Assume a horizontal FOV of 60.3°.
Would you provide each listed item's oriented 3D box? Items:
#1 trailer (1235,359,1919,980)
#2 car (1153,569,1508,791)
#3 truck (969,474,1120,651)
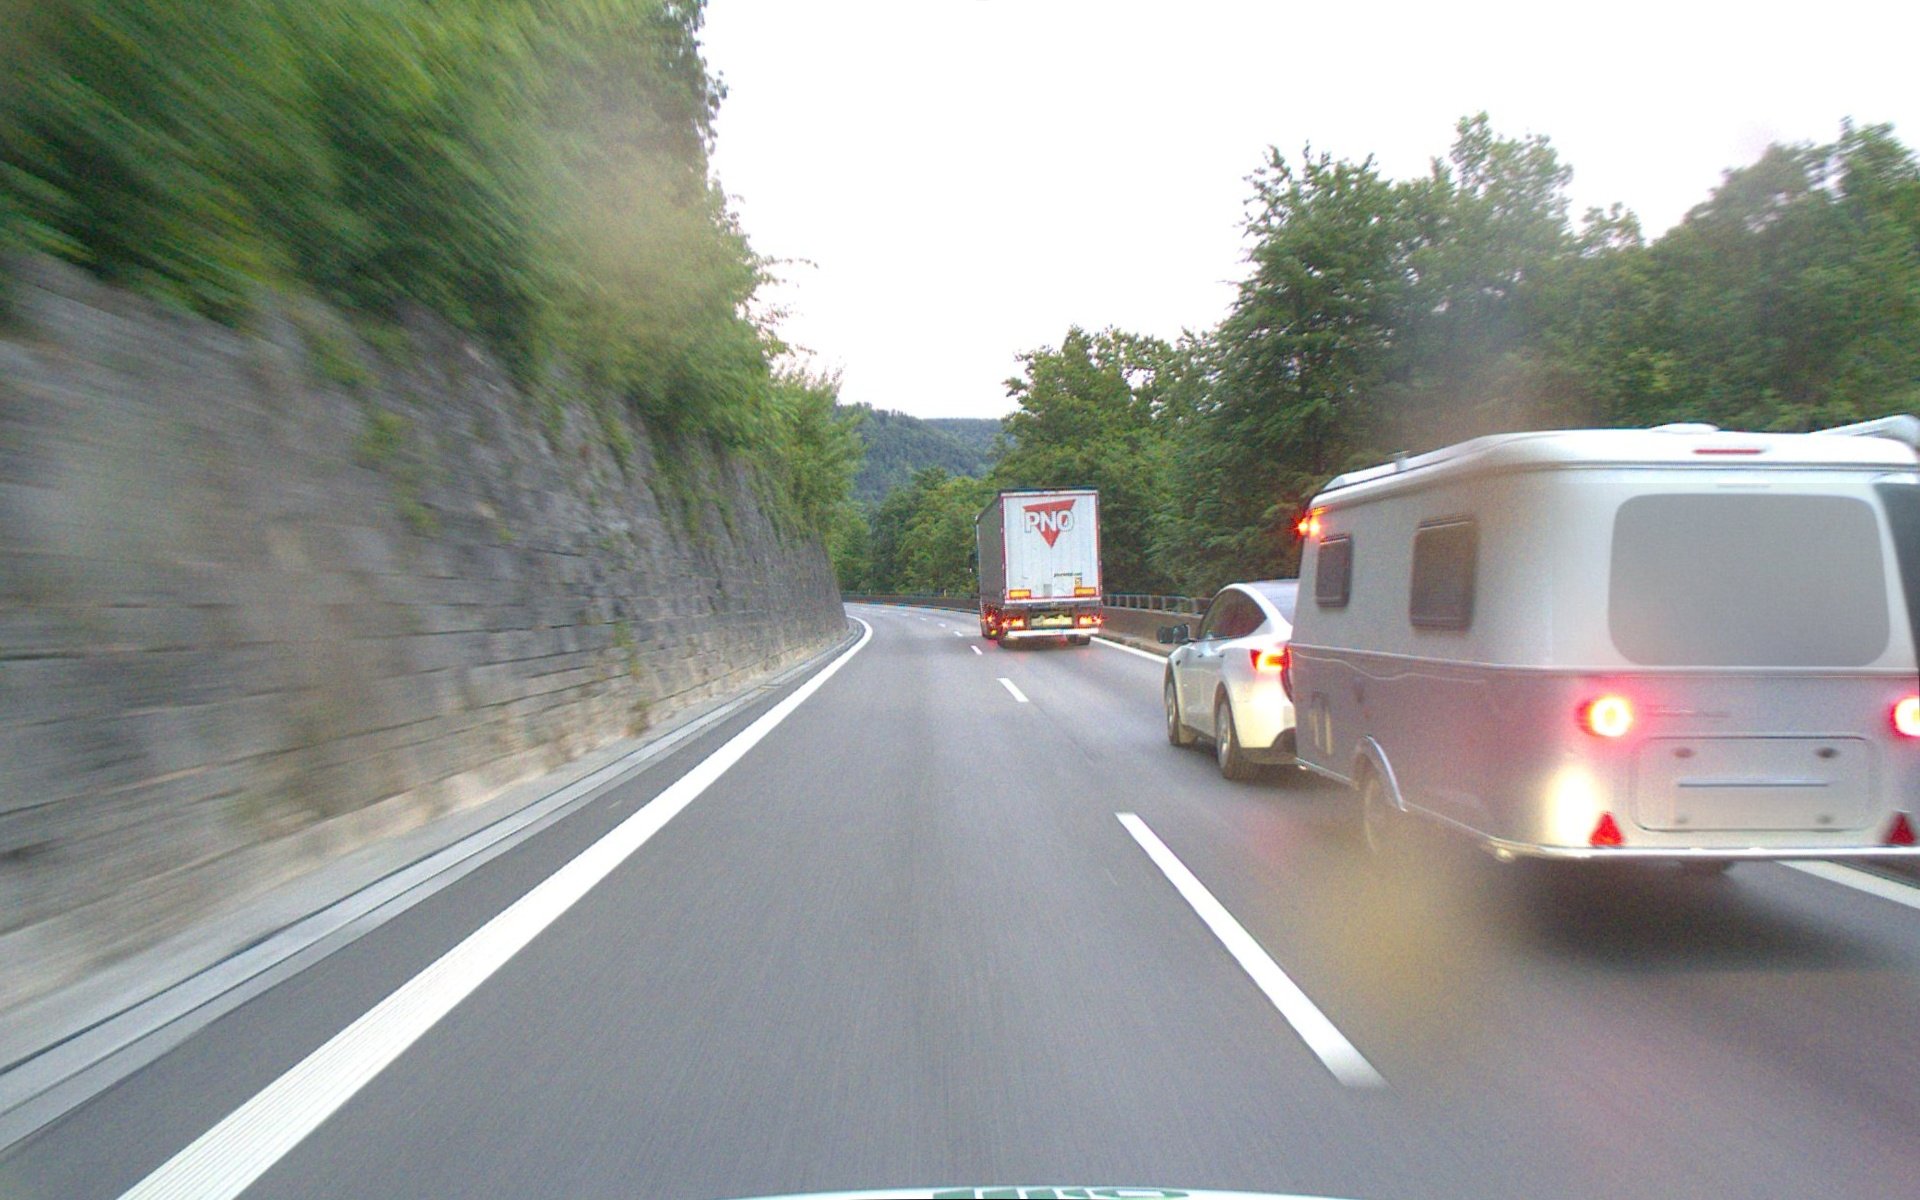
[{"bbox_3d":[3.150,0.251,9.491,2.013,2.416,5.936,-1,0,-1],"label":"trailer"},{"bbox_3d":[3.067,0.601,14.849,1.953,1.643,4.863,-1,0,-2],"label":"car"},{"bbox_3d":[2.133,-0.918,49.016,3.228,4.246,16.499,-2,0,-1],"label":"truck"}]
